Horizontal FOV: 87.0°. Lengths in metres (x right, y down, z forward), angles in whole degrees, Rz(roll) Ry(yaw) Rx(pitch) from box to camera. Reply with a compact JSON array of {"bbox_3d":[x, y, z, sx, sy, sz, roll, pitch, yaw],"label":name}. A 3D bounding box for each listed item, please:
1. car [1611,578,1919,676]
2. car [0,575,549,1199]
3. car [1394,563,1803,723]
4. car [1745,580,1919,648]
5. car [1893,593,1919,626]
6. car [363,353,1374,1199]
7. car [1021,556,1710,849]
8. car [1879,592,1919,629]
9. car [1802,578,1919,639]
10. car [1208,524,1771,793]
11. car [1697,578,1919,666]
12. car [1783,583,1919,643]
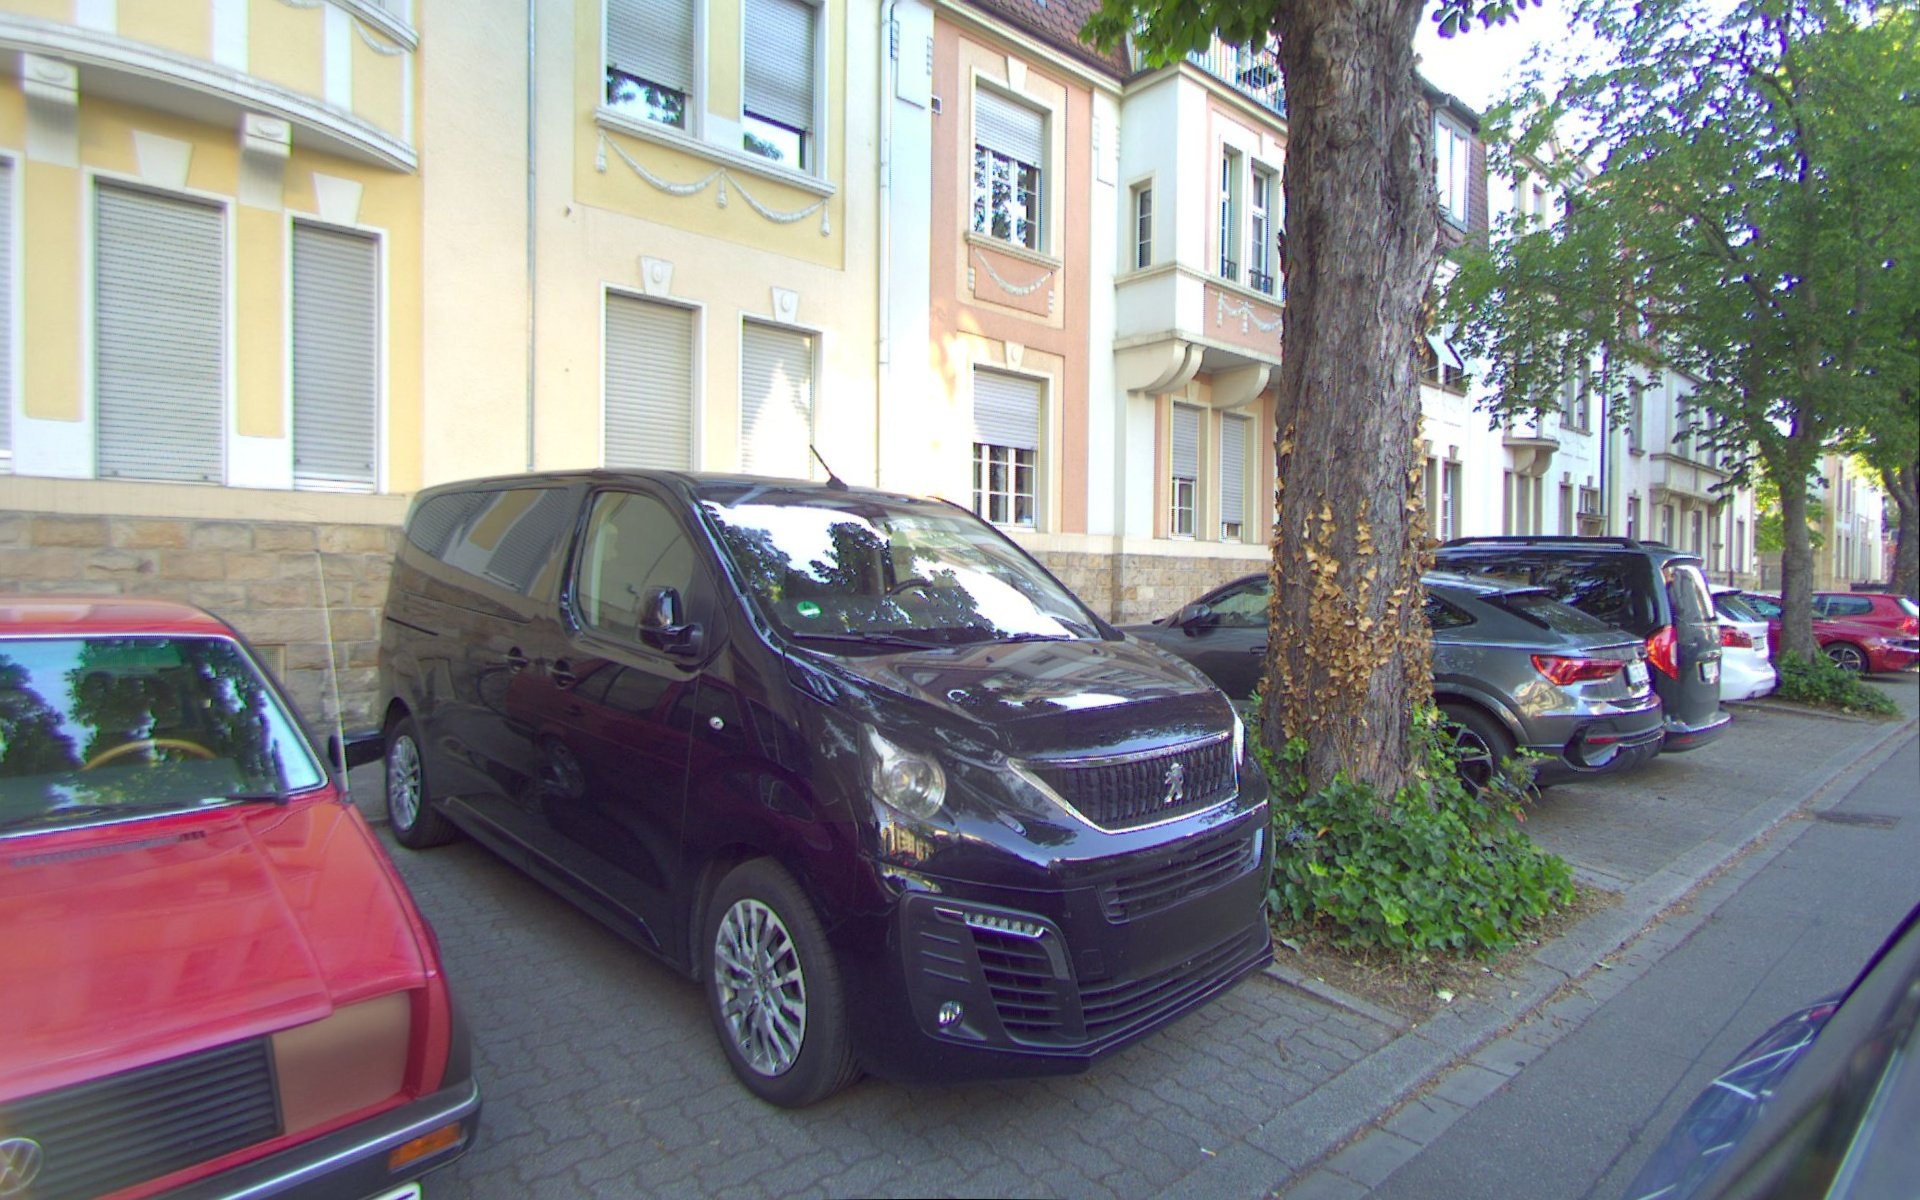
[{"bbox_3d":[14.790,0.388,18.455,1.833,1.470,4.533,0,3,-38],"label":"car"},{"bbox_3d":[-2.870,0.636,3.028,1.603,1.332,4.139,-1,3,-44],"label":"car"},{"bbox_3d":[7.707,0.383,12.518,1.689,1.597,3.948,0,3,-41],"label":"car"},{"bbox_3d":[21.858,0.301,24.966,1.548,1.484,3.681,0,2,-39],"label":"car"},{"bbox_3d":[34.281,0.380,34.522,1.515,1.076,3.399,0,3,-39],"label":"car"},{"bbox_3d":[-0.935,0.332,4.469,1.867,1.897,4.753,-1,3,-44],"label":"car"},{"bbox_3d":[2.748,0.472,7.695,1.815,1.542,4.513,-1,3,-44],"label":"car"},{"bbox_3d":[31.901,0.381,32.459,1.515,1.164,3.399,0,3,-39],"label":"car"},{"bbox_3d":[25.876,0.235,28.024,1.548,1.576,3.681,0,2,-39],"label":"car"},{"bbox_3d":[4.522,0.314,9.139,1.814,1.860,4.116,-1,3,-42],"label":"car"},{"bbox_3d":[16.900,0.358,19.811,1.628,1.499,3.682,0,2,-38],"label":"car"},{"bbox_3d":[24.010,0.323,26.404,1.548,1.416,3.681,0,2,-39],"label":"car"}]
